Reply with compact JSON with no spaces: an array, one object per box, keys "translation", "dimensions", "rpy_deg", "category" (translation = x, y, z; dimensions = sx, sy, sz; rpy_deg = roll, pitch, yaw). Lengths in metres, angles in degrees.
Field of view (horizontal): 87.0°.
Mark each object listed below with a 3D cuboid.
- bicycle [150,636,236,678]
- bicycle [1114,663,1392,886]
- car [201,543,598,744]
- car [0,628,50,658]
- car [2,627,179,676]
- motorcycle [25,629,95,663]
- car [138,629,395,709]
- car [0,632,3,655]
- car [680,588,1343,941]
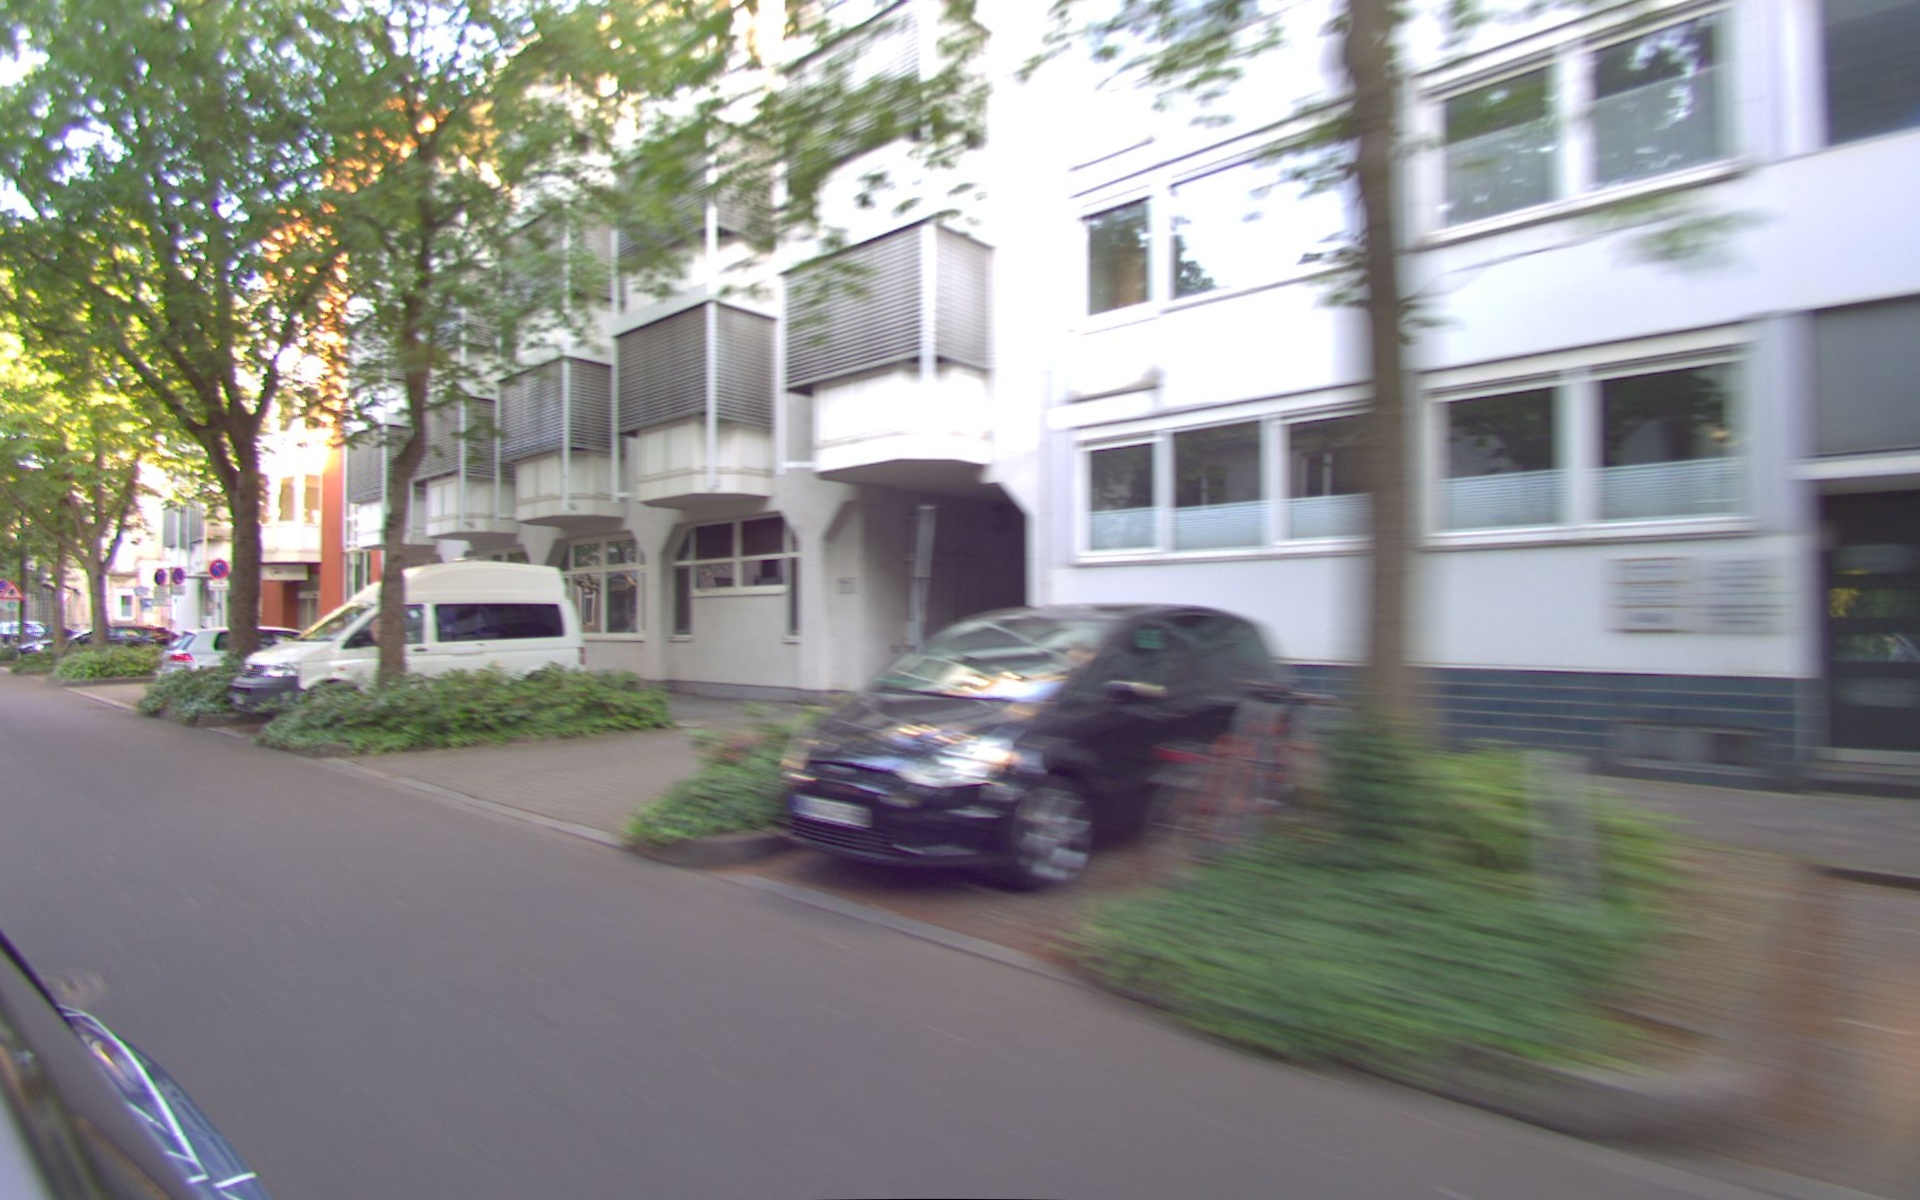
[{"translation":[-22.779,1.663,30.092],"dimensions":[0.655,1.185,1.941],"rpy_deg":[-2,-2,35],"category":"bicycle"},{"translation":[1.449,0.751,4.857],"dimensions":[0.613,0.837,1.535],"rpy_deg":[-2,-2,45],"category":"bicycle"},{"translation":[-8.432,0.613,15.631],"dimensions":[2.120,2.592,4.950],"rpy_deg":[-2,-2,42],"category":"car"},{"translation":[-55.839,2.501,58.702],"dimensions":[4.537,1.748,2.143],"rpy_deg":[1,-2,-43],"category":"car"},{"translation":[-30.051,1.730,35.092],"dimensions":[1.871,1.537,4.461],"rpy_deg":[-2,-2,42],"category":"car"},{"translation":[-41.138,2.095,46.300],"dimensions":[0.895,1.481,2.217],"rpy_deg":[-1,-2,19],"category":"motorcycle"},{"translation":[-14.444,1.365,21.235],"dimensions":[1.953,1.480,4.123],"rpy_deg":[-2,-2,43],"category":"car"},{"translation":[-73.800,3.268,74.737],"dimensions":[2.000,1.729,4.469],"rpy_deg":[-2,-2,43],"category":"car"},{"translation":[0.700,0.806,7.208],"dimensions":[2.160,1.634,4.800],"rpy_deg":[-2,-2,43],"category":"car"}]
